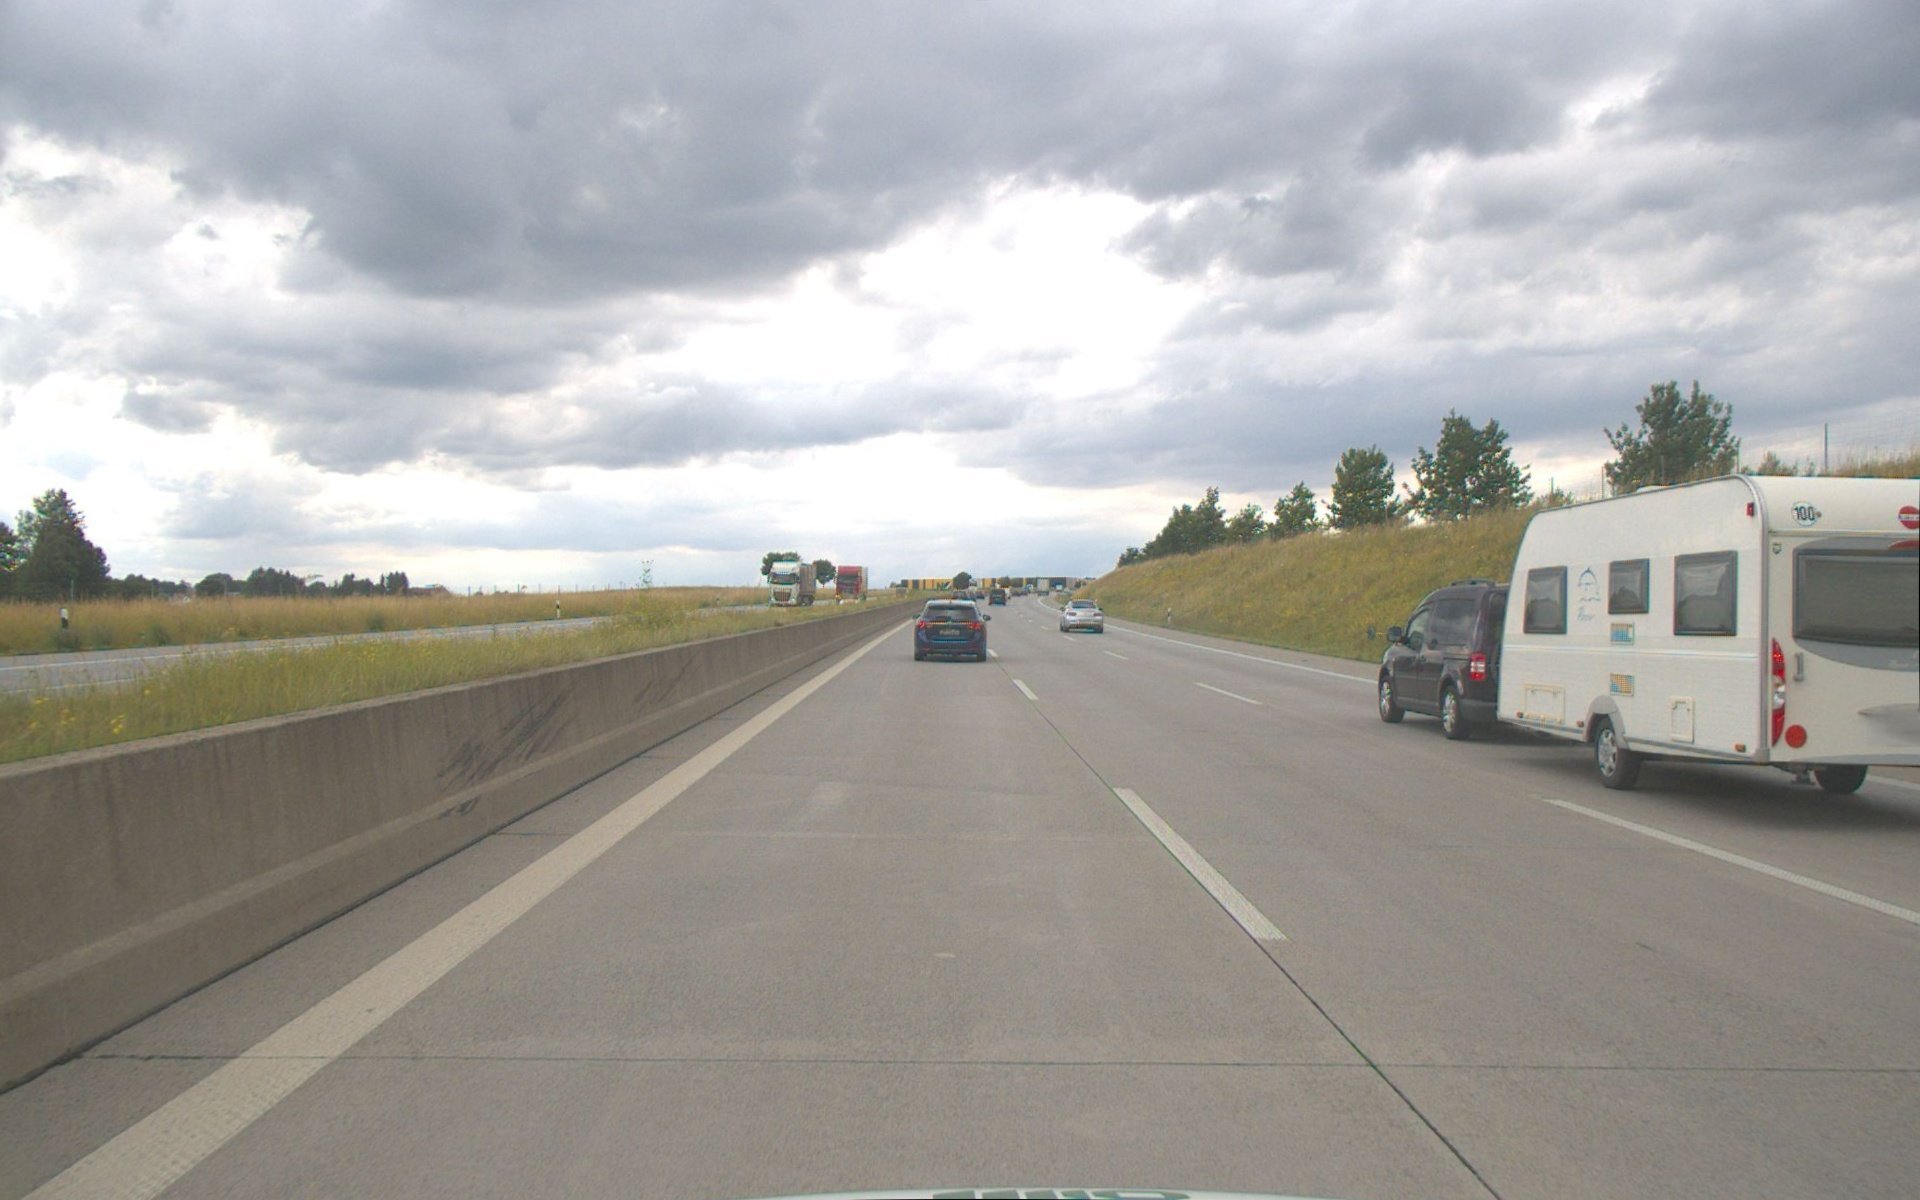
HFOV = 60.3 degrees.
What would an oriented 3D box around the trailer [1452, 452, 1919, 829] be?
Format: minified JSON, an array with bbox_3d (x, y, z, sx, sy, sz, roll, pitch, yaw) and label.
[{"bbox_3d":[6.727,0.284,14.731,2.555,2.578,6.719,0,0,-1],"label":"trailer"}]

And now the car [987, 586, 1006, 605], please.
[{"bbox_3d":[3.991,-0.466,182.504,1.952,2.049,4.000,1,0,0],"label":"car"}]

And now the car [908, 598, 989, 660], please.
[{"bbox_3d":[-0.238,0.690,40.827,1.737,1.438,4.001,0,0,3],"label":"car"}]

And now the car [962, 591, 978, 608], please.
[{"bbox_3d":[1.227,-0.091,207.662,1.953,2.049,4.000,1,0,0],"label":"car"}]

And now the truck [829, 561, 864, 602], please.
[{"bbox_3d":[-11.862,-1.931,173.611,2.758,4.108,10.569,0,0,0],"label":"truck"}]

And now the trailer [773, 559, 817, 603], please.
[{"bbox_3d":[-15.850,-1.845,160.035,2.781,4.108,13.908,0,1,0],"label":"trailer"}]

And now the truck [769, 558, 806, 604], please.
[{"bbox_3d":[-15.927,-1.734,152.761,2.781,4.108,5.511,0,0,0],"label":"truck"}]

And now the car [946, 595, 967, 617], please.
[{"bbox_3d":[-0.316,0.603,157.619,2.004,2.049,4.000,1,0,0],"label":"car"}]

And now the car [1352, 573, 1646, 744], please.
[{"bbox_3d":[6.452,0.640,20.478,1.900,1.841,5.030,0,0,-1],"label":"car"}]

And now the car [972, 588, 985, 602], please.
[{"bbox_3d":[2.961,-0.751,258.874,1.953,2.049,4.000,1,0,0],"label":"car"}]

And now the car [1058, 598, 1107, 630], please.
[{"bbox_3d":[5.515,0.612,74.819,1.753,1.428,4.219,1,0,-2],"label":"car"}]
